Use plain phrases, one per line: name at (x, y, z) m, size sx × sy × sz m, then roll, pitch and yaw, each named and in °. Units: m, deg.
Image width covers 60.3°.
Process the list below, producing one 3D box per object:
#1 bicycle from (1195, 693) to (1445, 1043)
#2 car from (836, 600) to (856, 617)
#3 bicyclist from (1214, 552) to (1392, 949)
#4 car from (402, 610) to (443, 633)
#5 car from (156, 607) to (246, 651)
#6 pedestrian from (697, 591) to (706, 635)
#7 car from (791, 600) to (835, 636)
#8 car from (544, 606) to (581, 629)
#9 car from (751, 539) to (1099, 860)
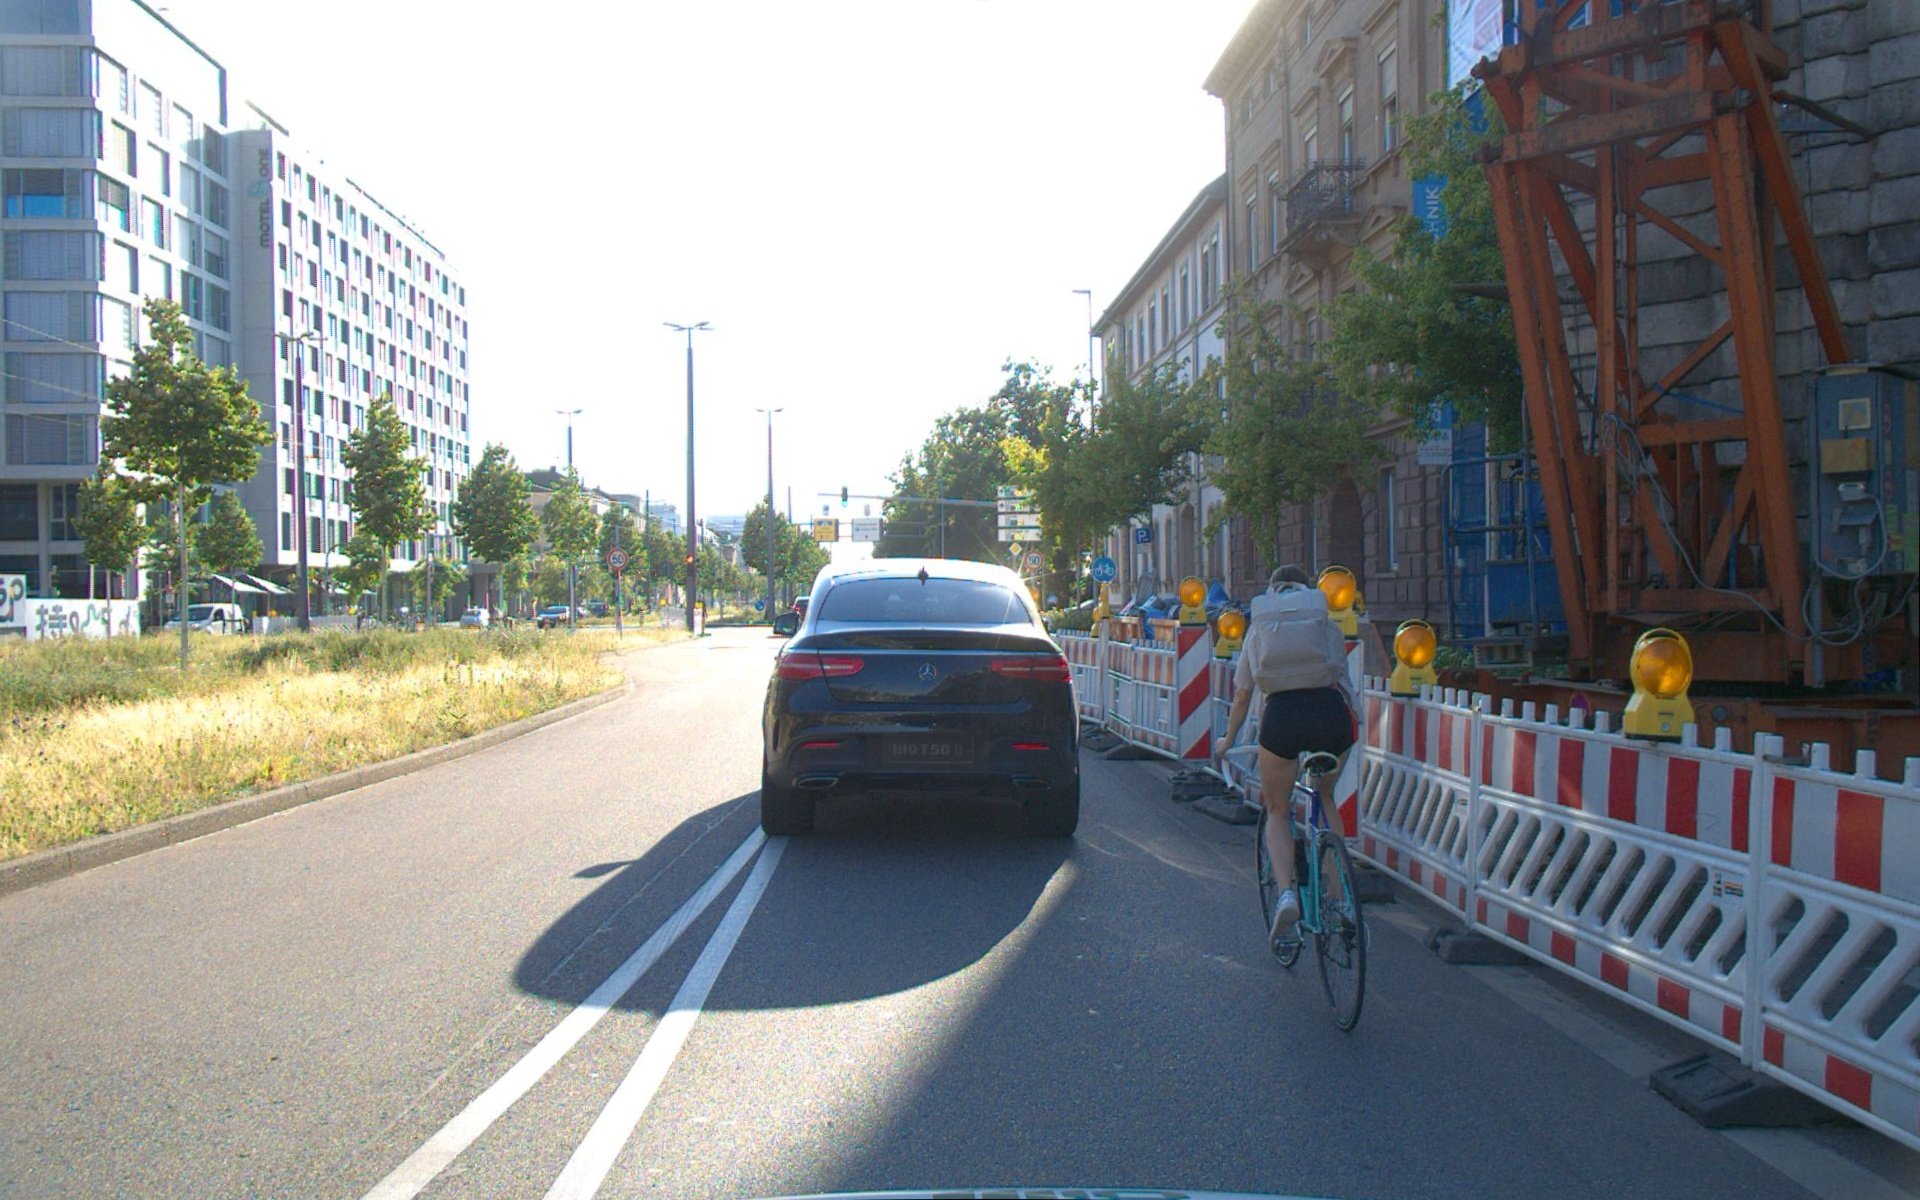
bicycle at (1.326, 0.942, 6.382) m, size 0.502 × 1.070 × 1.724 m, roll 0°, pitch 0°, yaw -3°
car at (-10.128, 0.739, 146.691) m, size 1.674 × 1.467 × 3.581 m, roll 0°, pitch 0°, yaw -2°
bicyclist at (1.278, 0.539, 6.235) m, size 0.512 × 1.420 × 0.614 m, roll 0°, pitch 0°, yaw -3°
car at (-35.928, 1.432, 110.656) m, size 1.674 × 1.467 × 3.581 m, roll 0°, pitch 0°, yaw -2°
car at (-30.214, 1.132, 65.932) m, size 1.753 × 1.713 × 3.639 m, roll 0°, pitch 0°, yaw 3°
pedestrian at (-10.641, 0.525, 68.040) m, size 0.327 × 1.793 × 0.418 m, roll 0°, pitch 0°, yaw -3°
car at (-6.244, 0.732, 70.610) m, size 1.674 × 1.467 × 3.581 m, roll 0°, pitch 0°, yaw -2°
car at (-25.878, 1.124, 107.782) m, size 1.674 × 1.467 × 3.581 m, roll 0°, pitch 0°, yaw -2°
car at (-0.208, 0.565, 11.354) m, size 1.953 × 1.803 × 3.999 m, roll 0°, pitch 0°, yaw 0°
